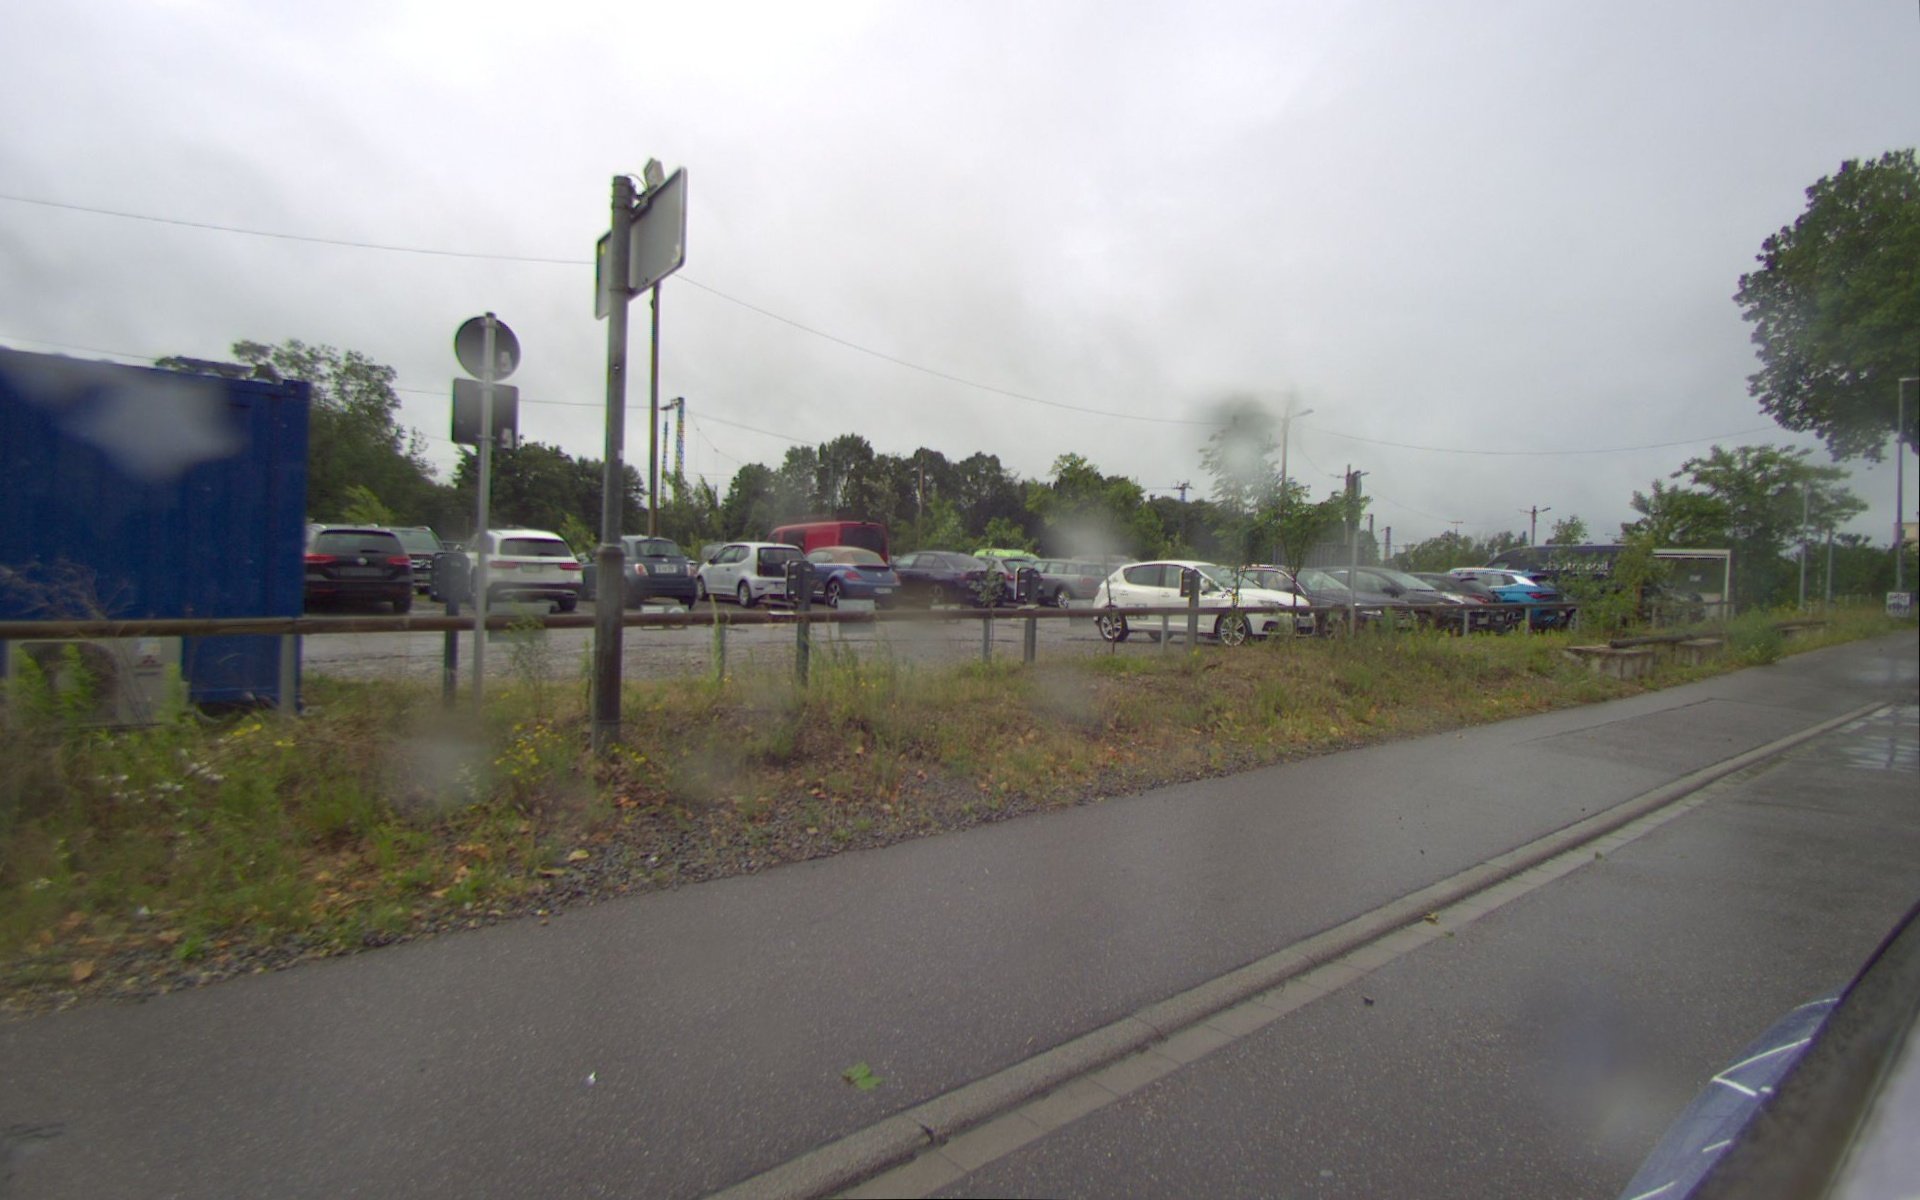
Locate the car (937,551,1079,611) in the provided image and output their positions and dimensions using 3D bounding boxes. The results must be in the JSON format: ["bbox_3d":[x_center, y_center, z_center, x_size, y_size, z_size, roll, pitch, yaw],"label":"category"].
[{"bbox_3d":[1.285,-0.590,28.521,1.852,1.444,3.965,-1,4,-38],"label":"car"}]

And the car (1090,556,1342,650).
[{"bbox_3d":[4.250,-0.017,17.183,1.873,1.410,3.777,-1,2,-42],"label":"car"}]

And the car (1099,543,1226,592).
[{"bbox_3d":[6.975,-1.177,35.169,1.891,1.508,4.078,-1,4,-38],"label":"car"}]

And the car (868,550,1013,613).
[{"bbox_3d":[-0.588,-0.544,26.787,1.852,1.444,3.965,-1,4,-38],"label":"car"}]

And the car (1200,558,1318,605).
[{"bbox_3d":[11.288,-0.748,38.431,1.774,1.555,3.965,-1,4,-38],"label":"car"}]

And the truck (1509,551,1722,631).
[{"bbox_3d":[20.824,-0.350,32.387,2.038,2.352,5.341,0,1,-40],"label":"truck"}]

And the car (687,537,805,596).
[{"bbox_3d":[-6.398,-1.016,29.985,1.738,1.593,3.997,0,3,-40],"label":"car"}]

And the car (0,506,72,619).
[{"bbox_3d":[-14.427,-0.624,14.835,1.836,1.507,3.965,-1,4,-38],"label":"car"}]

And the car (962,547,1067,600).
[{"bbox_3d":[1.947,-0.996,37.364,1.763,1.822,4.000,0,2,-36],"label":"car"}]

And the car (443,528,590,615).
[{"bbox_3d":[-8.803,-0.628,19.906,1.745,1.507,3.965,-1,4,-38],"label":"car"}]

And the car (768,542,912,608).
[{"bbox_3d":[-3.119,-0.678,25.660,1.852,1.444,3.965,-1,4,-38],"label":"car"}]

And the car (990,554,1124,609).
[{"bbox_3d":[2.879,-0.614,30.753,1.852,1.444,3.965,-1,4,-38],"label":"car"}]

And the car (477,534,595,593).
[{"bbox_3d":[-10.851,-0.952,25.747,1.646,1.336,3.997,0,3,-40],"label":"car"}]

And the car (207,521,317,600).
[{"bbox_3d":[-15.065,-0.889,21.758,1.646,1.511,3.998,0,3,-39],"label":"car"}]

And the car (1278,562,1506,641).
[{"bbox_3d":[8.682,-0.040,20.566,1.749,1.440,3.901,-1,2,-42],"label":"car"}]

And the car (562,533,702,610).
[{"bbox_3d":[-7.399,-0.702,22.586,1.745,1.507,3.965,-1,4,-38],"label":"car"}]

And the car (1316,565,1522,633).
[{"bbox_3d":[10.343,-0.091,22.978,1.749,1.412,3.901,-1,2,-42],"label":"car"}]

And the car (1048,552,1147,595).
[{"bbox_3d":[5.658,-1.126,41.971,1.733,1.660,3.997,0,2,-38],"label":"car"}]

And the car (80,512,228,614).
[{"bbox_3d":[-13.456,-0.690,17.009,1.745,1.507,3.965,-1,4,-38],"label":"car"}]

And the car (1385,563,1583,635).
[{"bbox_3d":[12.755,-0.090,24.778,1.865,1.614,3.901,-1,2,-42],"label":"car"}]

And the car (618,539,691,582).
[{"bbox_3d":[-11.709,-1.538,38.678,1.604,1.498,3.575,0,3,-36],"label":"car"}]

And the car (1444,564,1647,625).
[{"bbox_3d":[14.934,-0.197,25.964,1.832,1.437,4.165,-1,2,-42],"label":"car"}]

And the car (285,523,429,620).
[{"bbox_3d":[-10.796,-0.576,18.002,1.745,1.507,3.965,-1,4,-38],"label":"car"}]

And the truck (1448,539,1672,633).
[{"bbox_3d":[16.834,-0.436,28.617,2.074,2.432,5.040,0,2,-42],"label":"truck"}]

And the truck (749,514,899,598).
[{"bbox_3d":[-4.346,-1.392,31.634,2.115,2.397,5.301,0,3,-40],"label":"truck"}]

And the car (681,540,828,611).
[{"bbox_3d":[-4.927,-0.639,23.874,1.852,1.444,3.965,-1,4,-38],"label":"car"}]

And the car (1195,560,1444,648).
[{"bbox_3d":[6.509,0.005,18.608,1.873,1.440,3.901,-1,2,-42],"label":"car"}]

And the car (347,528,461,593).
[{"bbox_3d":[-12.969,-0.943,23.498,1.646,1.336,3.998,0,3,-39],"label":"car"}]
